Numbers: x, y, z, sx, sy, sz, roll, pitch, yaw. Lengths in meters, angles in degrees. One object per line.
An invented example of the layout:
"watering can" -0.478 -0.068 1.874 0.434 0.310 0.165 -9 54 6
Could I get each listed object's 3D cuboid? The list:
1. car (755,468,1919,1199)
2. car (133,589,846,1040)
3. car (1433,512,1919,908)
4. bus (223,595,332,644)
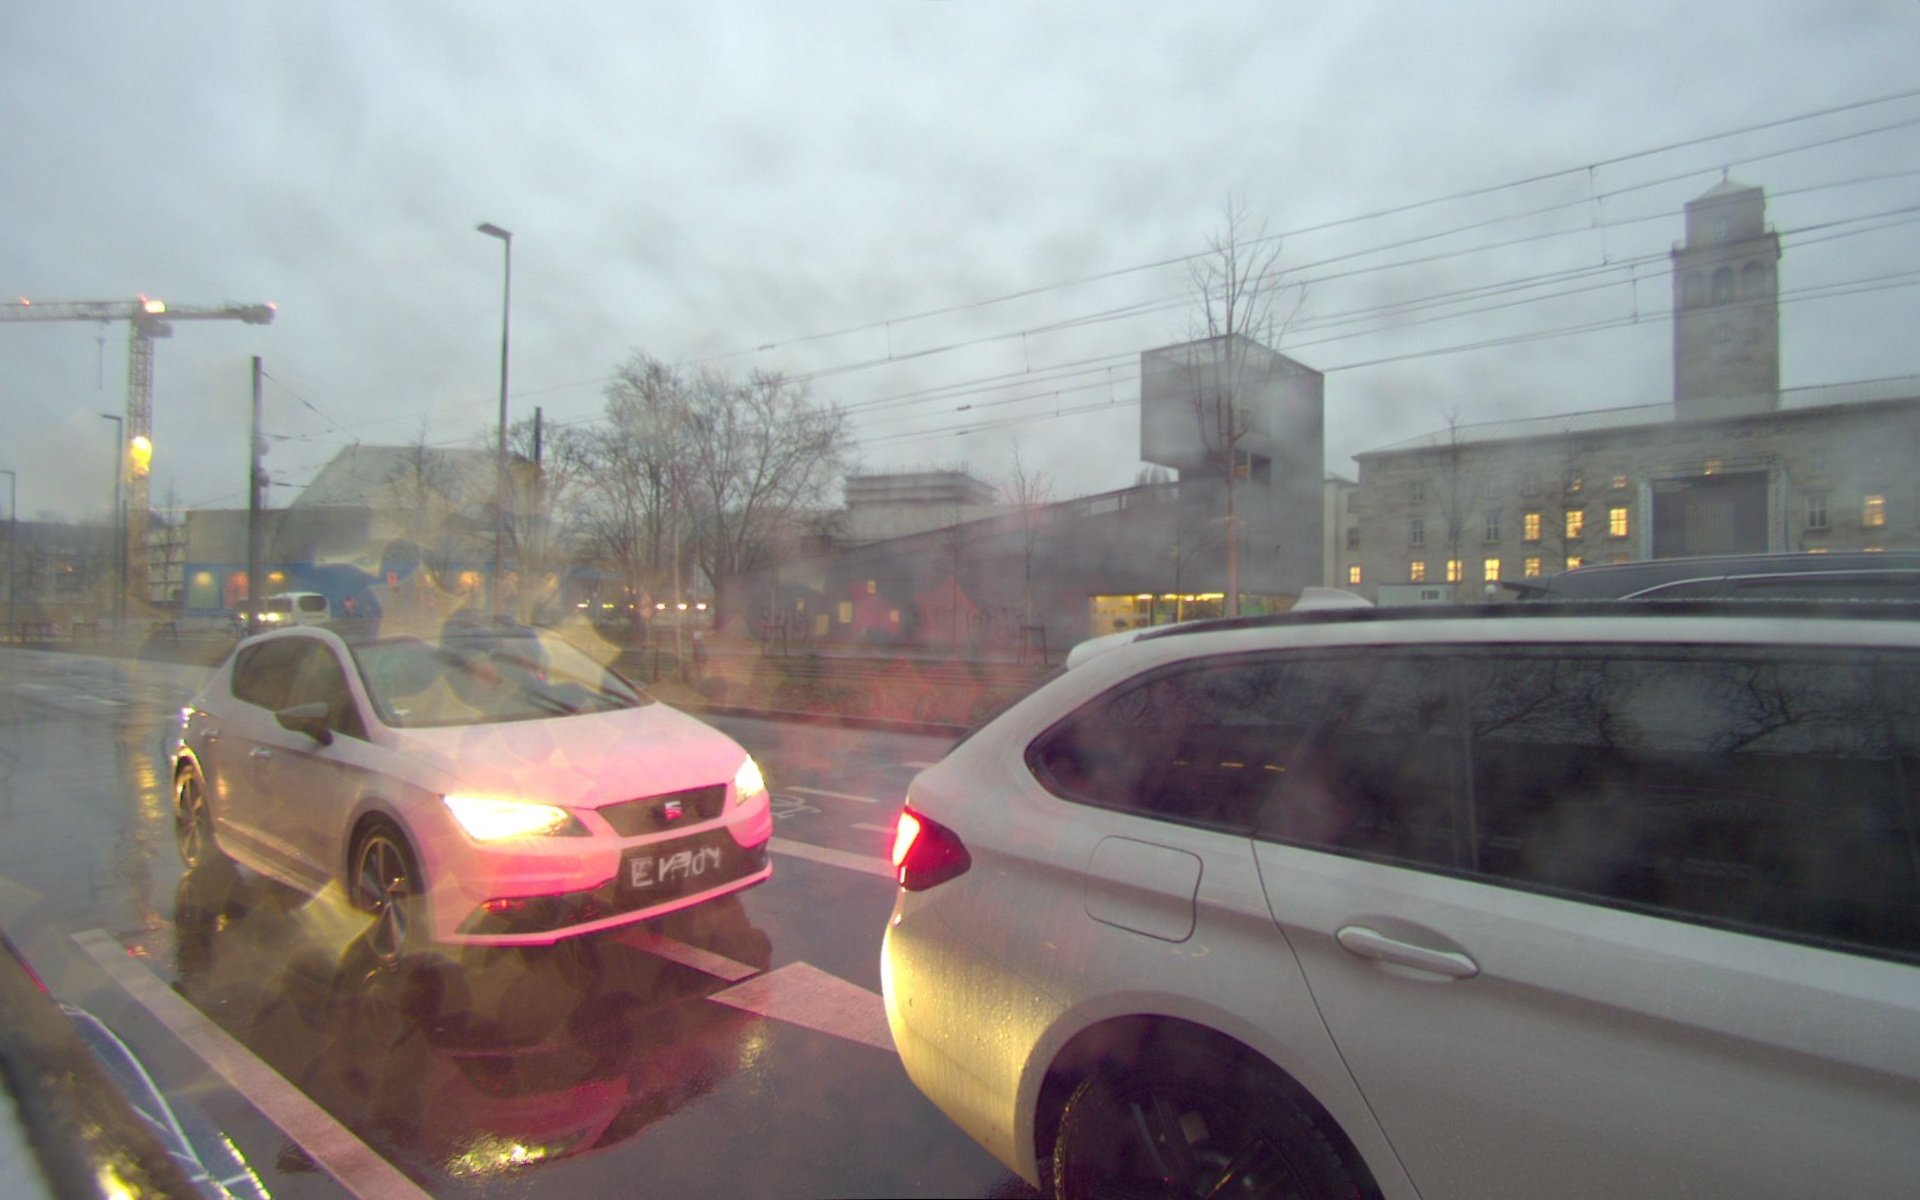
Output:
"car" 1.960 0.624 1.738 4.919 1.532 1.890 -1 -2 40
"car" -2.710 0.745 5.392 4.124 1.486 1.757 -1 1 38
"car" 5.008 0.502 4.990 4.605 1.756 1.686 -1 -2 38
"bus" -53.347 1.526 78.878 12.277 3.605 2.783 -1 -2 35
